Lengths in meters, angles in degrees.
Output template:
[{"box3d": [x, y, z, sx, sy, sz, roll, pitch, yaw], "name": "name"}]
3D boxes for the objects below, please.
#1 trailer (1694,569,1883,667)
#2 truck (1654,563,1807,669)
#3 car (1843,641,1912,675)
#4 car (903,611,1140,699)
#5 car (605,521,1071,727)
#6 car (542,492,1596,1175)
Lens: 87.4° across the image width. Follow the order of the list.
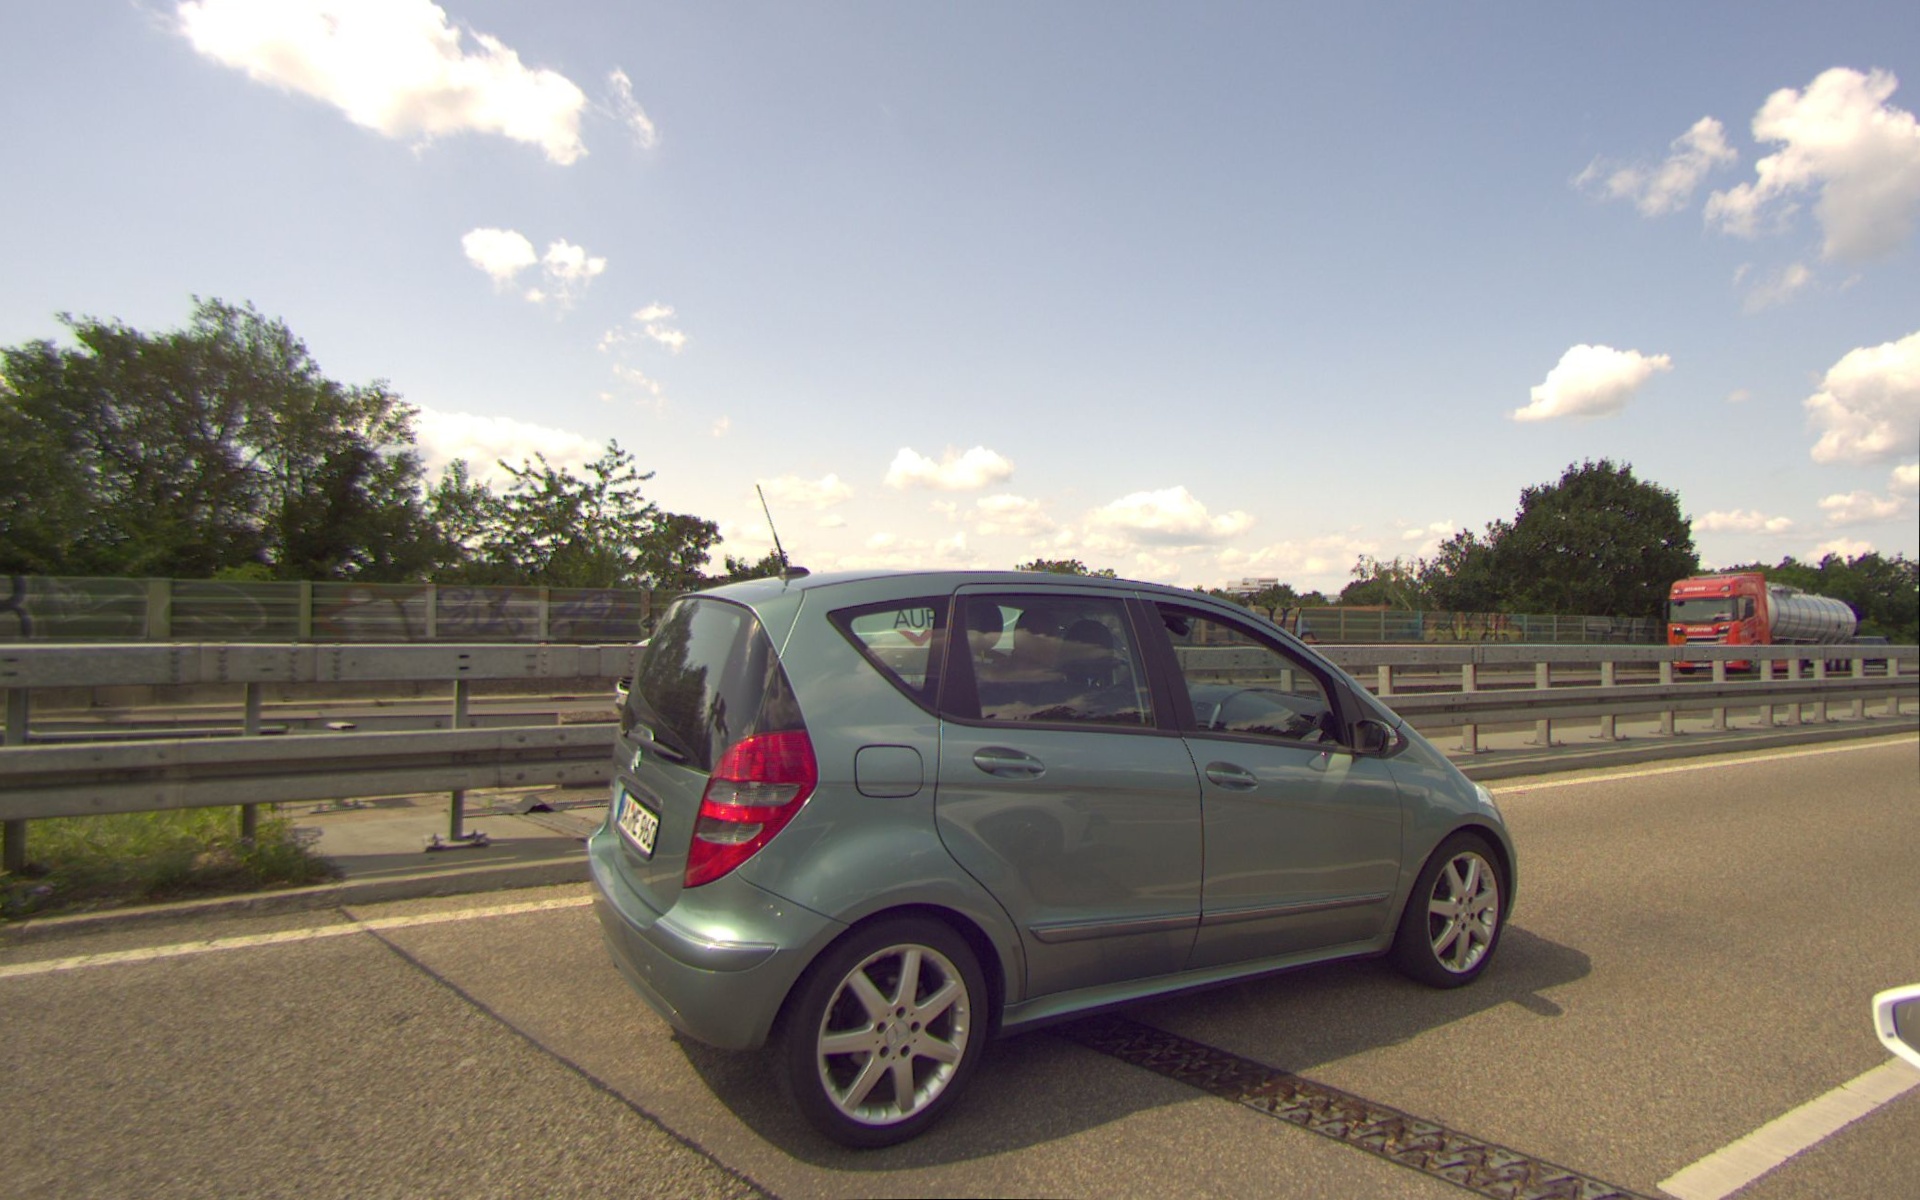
[{"box3d": [34.851, 0.828, 42.040, 10.906, 3.718, 2.670, 2, 1, -32], "name": "trailer"}, {"box3d": [29.963, 0.650, 39.007, 6.164, 3.832, 2.633, 2, 1, -32], "name": "truck"}, {"box3d": [47.200, 2.981, 51.653, 4.238, 1.641, 1.704, 2, -2, -34], "name": "car"}, {"box3d": [1.224, 1.025, 19.181, 4.355, 1.450, 1.679, 2, 1, -33], "name": "car"}, {"box3d": [-1.353, 0.342, 12.048, 5.169, 2.015, 2.069, 2, -2, -31], "name": "car"}, {"box3d": [0.568, 0.571, 4.042, 3.953, 1.551, 1.739, 2, 0, -30], "name": "car"}]
